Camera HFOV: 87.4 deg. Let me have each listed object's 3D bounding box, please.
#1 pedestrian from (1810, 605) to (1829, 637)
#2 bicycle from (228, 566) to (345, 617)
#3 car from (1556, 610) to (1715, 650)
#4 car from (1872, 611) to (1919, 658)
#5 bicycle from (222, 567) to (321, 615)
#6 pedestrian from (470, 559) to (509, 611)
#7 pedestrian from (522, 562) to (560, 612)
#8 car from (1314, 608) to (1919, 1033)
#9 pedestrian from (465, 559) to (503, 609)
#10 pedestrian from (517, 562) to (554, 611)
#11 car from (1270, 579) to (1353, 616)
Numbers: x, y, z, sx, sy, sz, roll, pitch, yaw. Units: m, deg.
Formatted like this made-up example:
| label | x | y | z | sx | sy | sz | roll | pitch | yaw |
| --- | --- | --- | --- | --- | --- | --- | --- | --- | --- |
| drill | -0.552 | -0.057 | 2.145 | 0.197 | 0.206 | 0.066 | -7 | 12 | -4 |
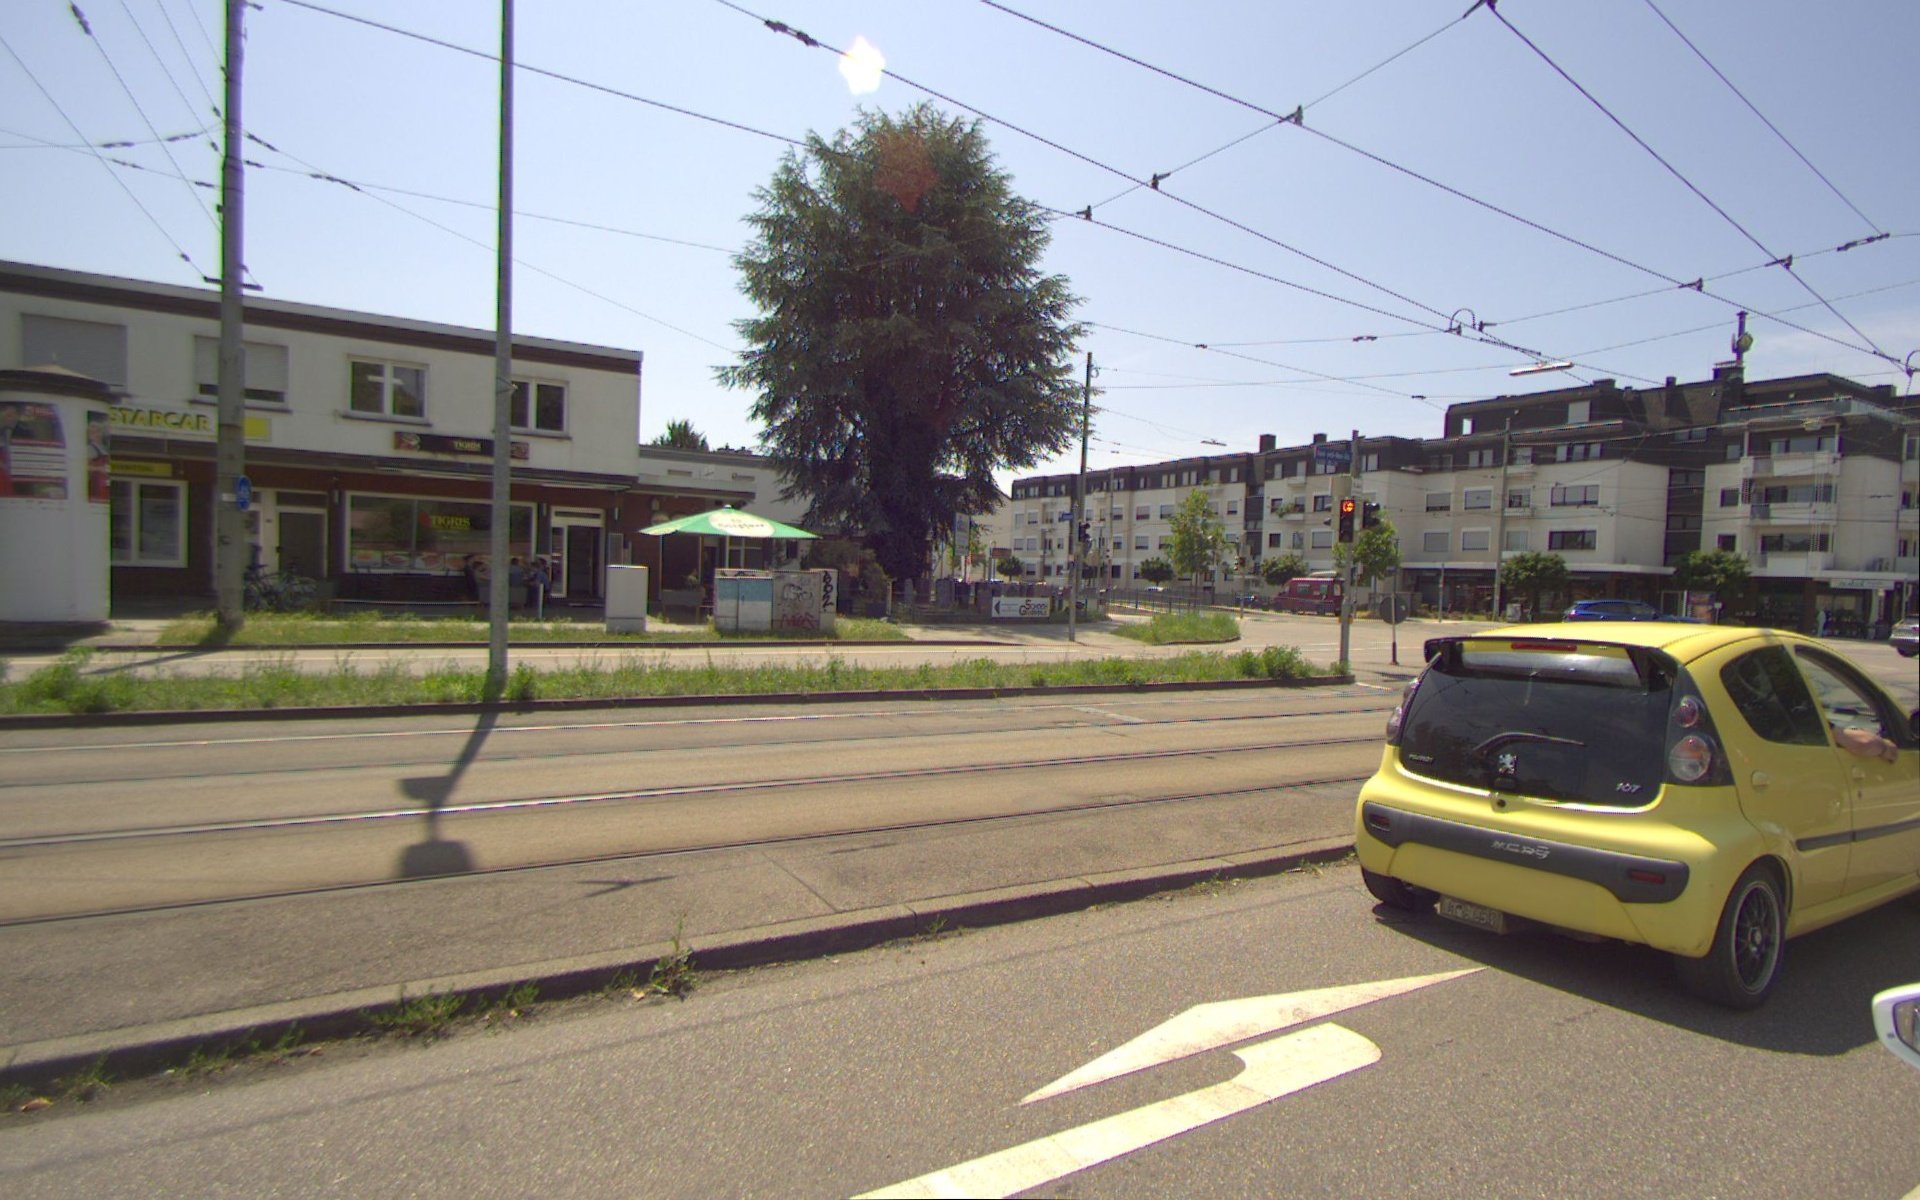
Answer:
| label | x | y | z | sx | sy | sz | roll | pitch | yaw |
| --- | --- | --- | --- | --- | --- | --- | --- | --- | --- |
| pedestrian | 48.187 | 1.173 | 56.319 | 0.598 | 1.777 | 0.506 | 2 | 0 | 16 |
| bicycle | -14.250 | -0.163 | 21.316 | 2.006 | 0.992 | 0.607 | 2 | 0 | -31 |
| car | 25.029 | 1.088 | 37.473 | 4.697 | 1.253 | 1.937 | 2 | 0 | 28 |
| car | 34.963 | 1.249 | 35.152 | 4.068 | 1.605 | 1.941 | 2 | 0 | 10 |
| bicycle | -15.262 | -0.188 | 22.308 | 1.738 | 0.992 | 0.536 | 2 | 0 | -31 |
| pedestrian | -12.177 | -0.382 | 25.997 | 0.832 | 1.285 | 0.586 | 2 | 0 | -30 |
| pedestrian | -11.143 | -0.331 | 26.688 | 0.832 | 1.285 | 0.586 | 2 | 0 | -30 |
| car | 3.583 | 0.794 | 5.080 | 3.254 | 1.464 | 1.715 | 1 | 0 | -31 |
| pedestrian | -12.609 | -0.416 | 26.625 | 0.832 | 1.285 | 0.586 | 2 | 0 | -30 |
| pedestrian | -11.540 | -0.358 | 27.284 | 0.832 | 1.285 | 0.586 | 2 | 0 | -30 |
| car | 23.833 | -0.182 | 68.228 | 2.219 | 2.372 | 5.038 | 2 | 0 | -31 |
